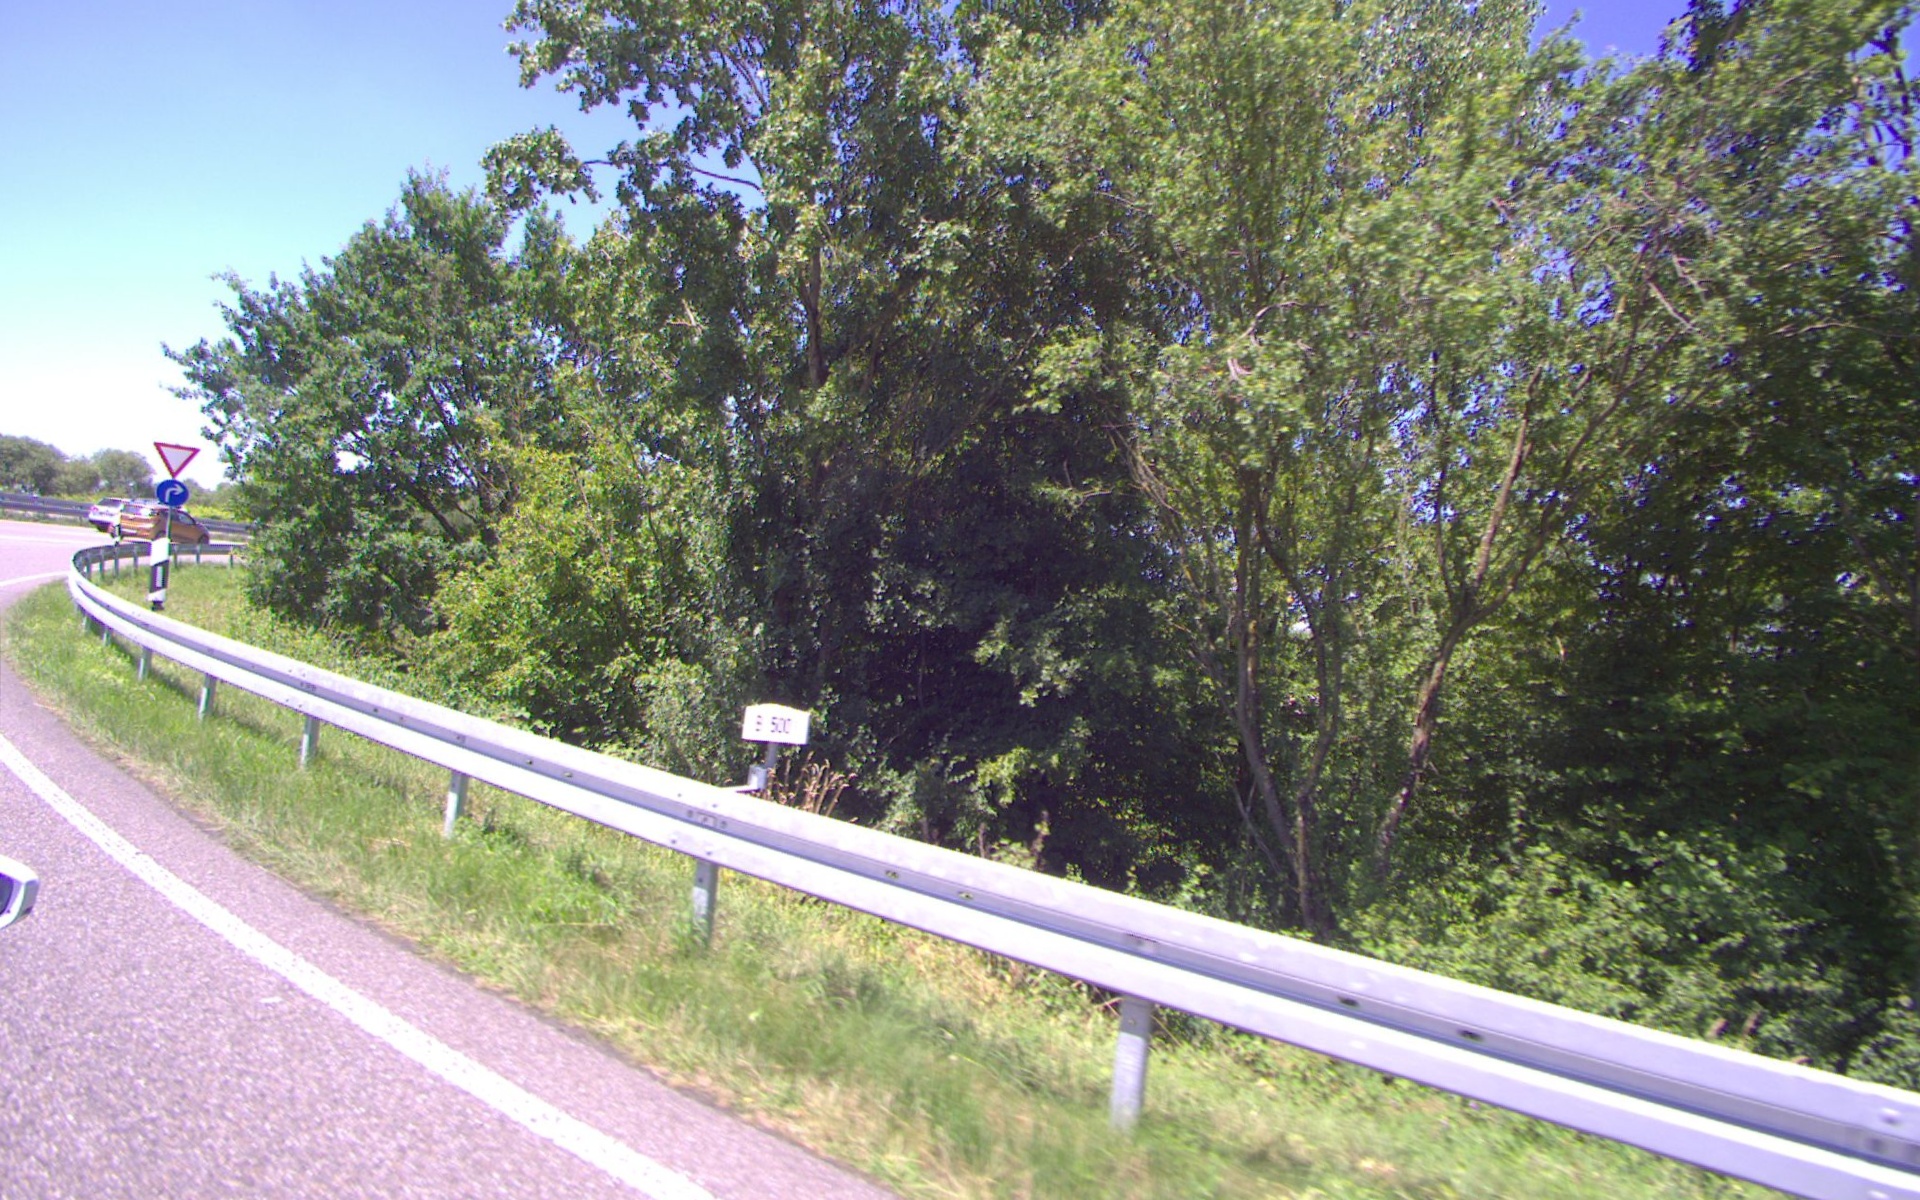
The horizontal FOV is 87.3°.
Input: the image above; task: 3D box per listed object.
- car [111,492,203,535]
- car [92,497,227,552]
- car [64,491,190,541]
[{"bbox_3d":[-51.056,-5.463,64.090,1.906,1.914,4.913,7,-2,-3],"label":"car"},{"bbox_3d":[-30.794,-2.865,38.881,1.813,1.481,4.001,9,-1,1],"label":"car"},{"bbox_3d":[-35.268,-3.514,42.734,1.813,1.468,4.001,9,-1,1],"label":"car"}]
